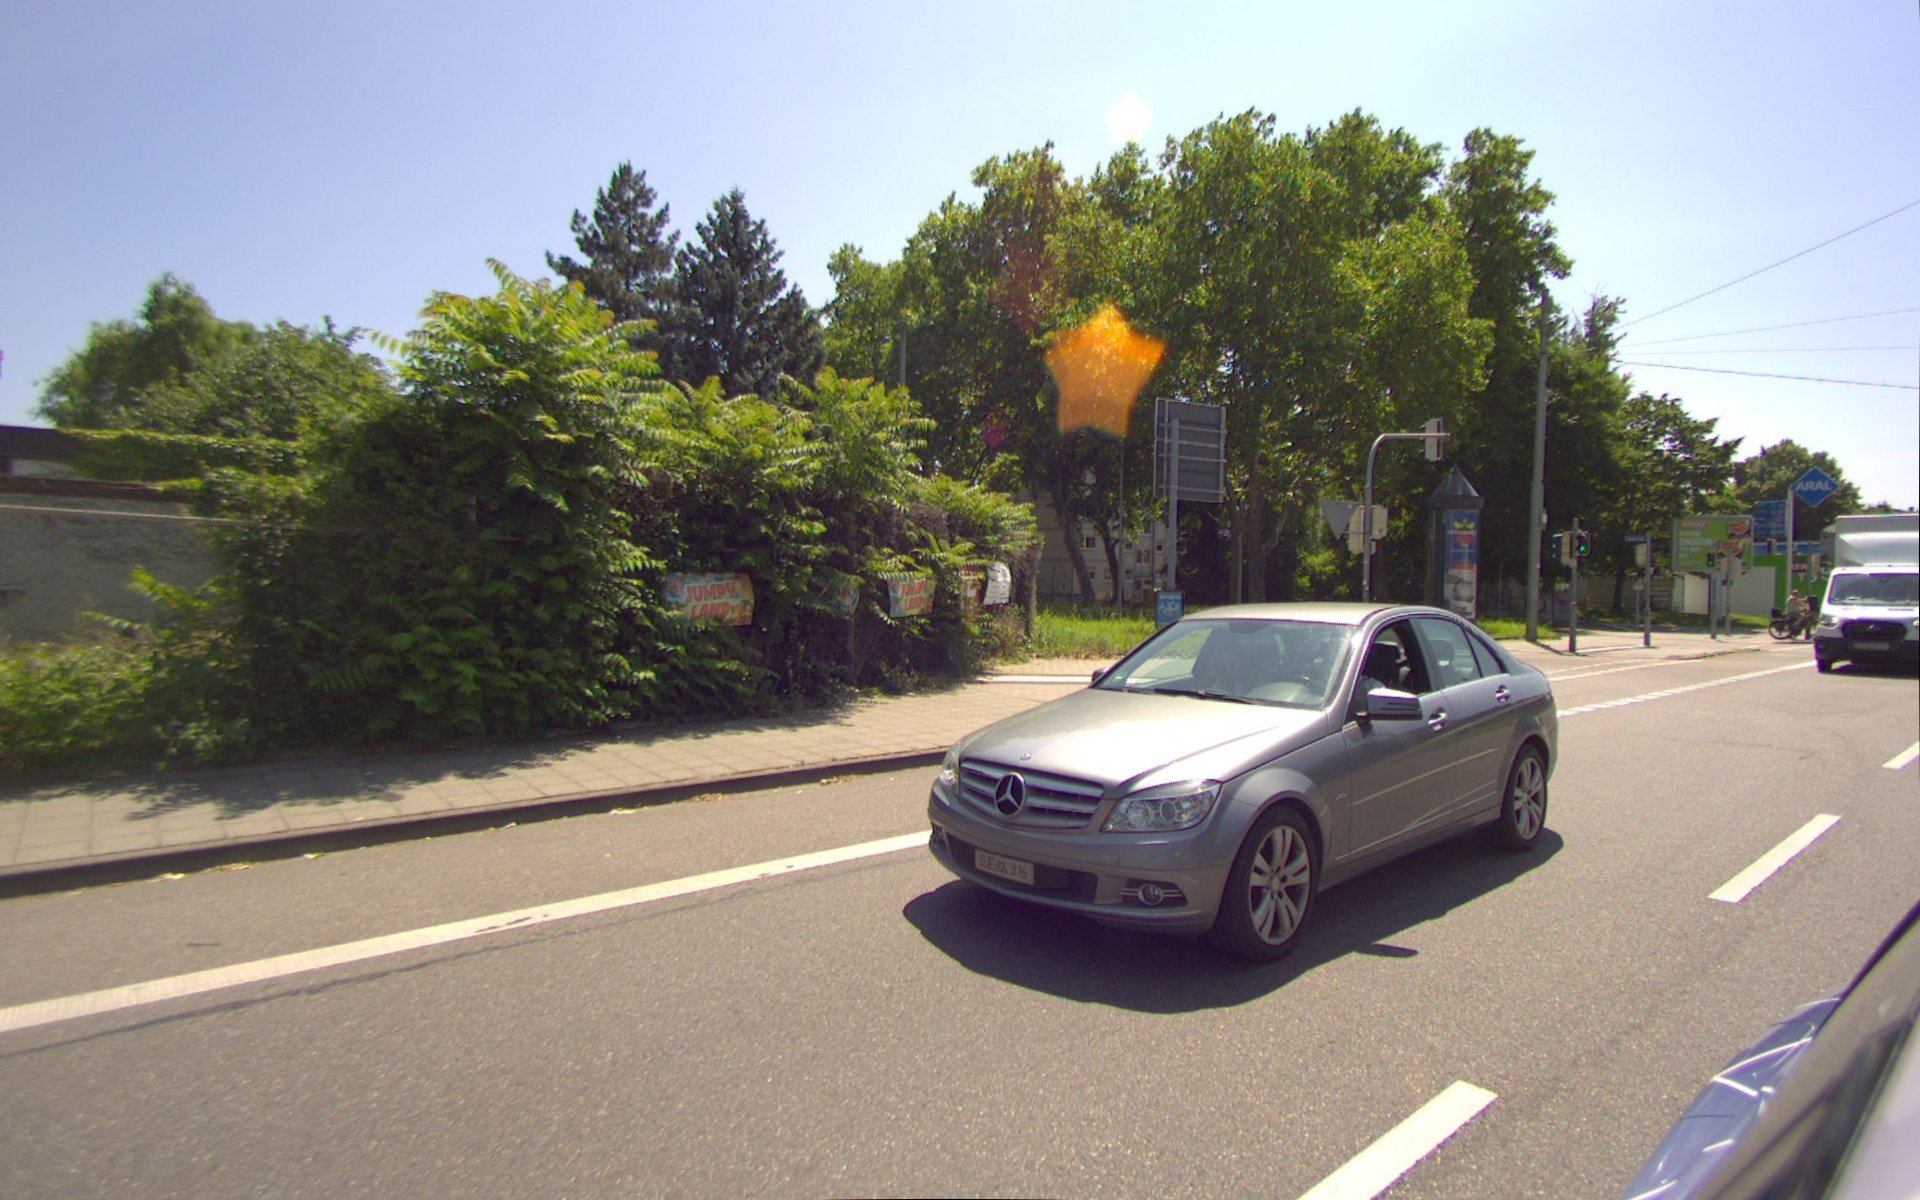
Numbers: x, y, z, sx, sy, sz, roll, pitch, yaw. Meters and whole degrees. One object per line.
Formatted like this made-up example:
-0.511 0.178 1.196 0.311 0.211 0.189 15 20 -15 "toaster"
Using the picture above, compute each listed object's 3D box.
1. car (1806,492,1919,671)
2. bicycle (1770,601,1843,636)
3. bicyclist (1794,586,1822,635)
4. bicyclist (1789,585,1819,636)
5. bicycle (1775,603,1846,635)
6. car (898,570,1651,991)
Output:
21.074 -0.335 22.280 8.480 3.378 2.228 0 0 -39 "car"
30.664 0.649 36.680 0.880 1.174 1.951 0 1 -45 "bicycle"
31.487 0.395 37.588 0.753 1.811 0.579 0 -1 -32 "bicyclist"
30.611 0.370 36.704 0.724 1.810 0.961 1 1 45 "bicyclist"
31.553 0.685 37.568 0.877 1.139 1.874 0 0 -32 "bicycle"
2.226 0.668 5.953 5.207 1.492 1.716 1 -1 -40 "car"
